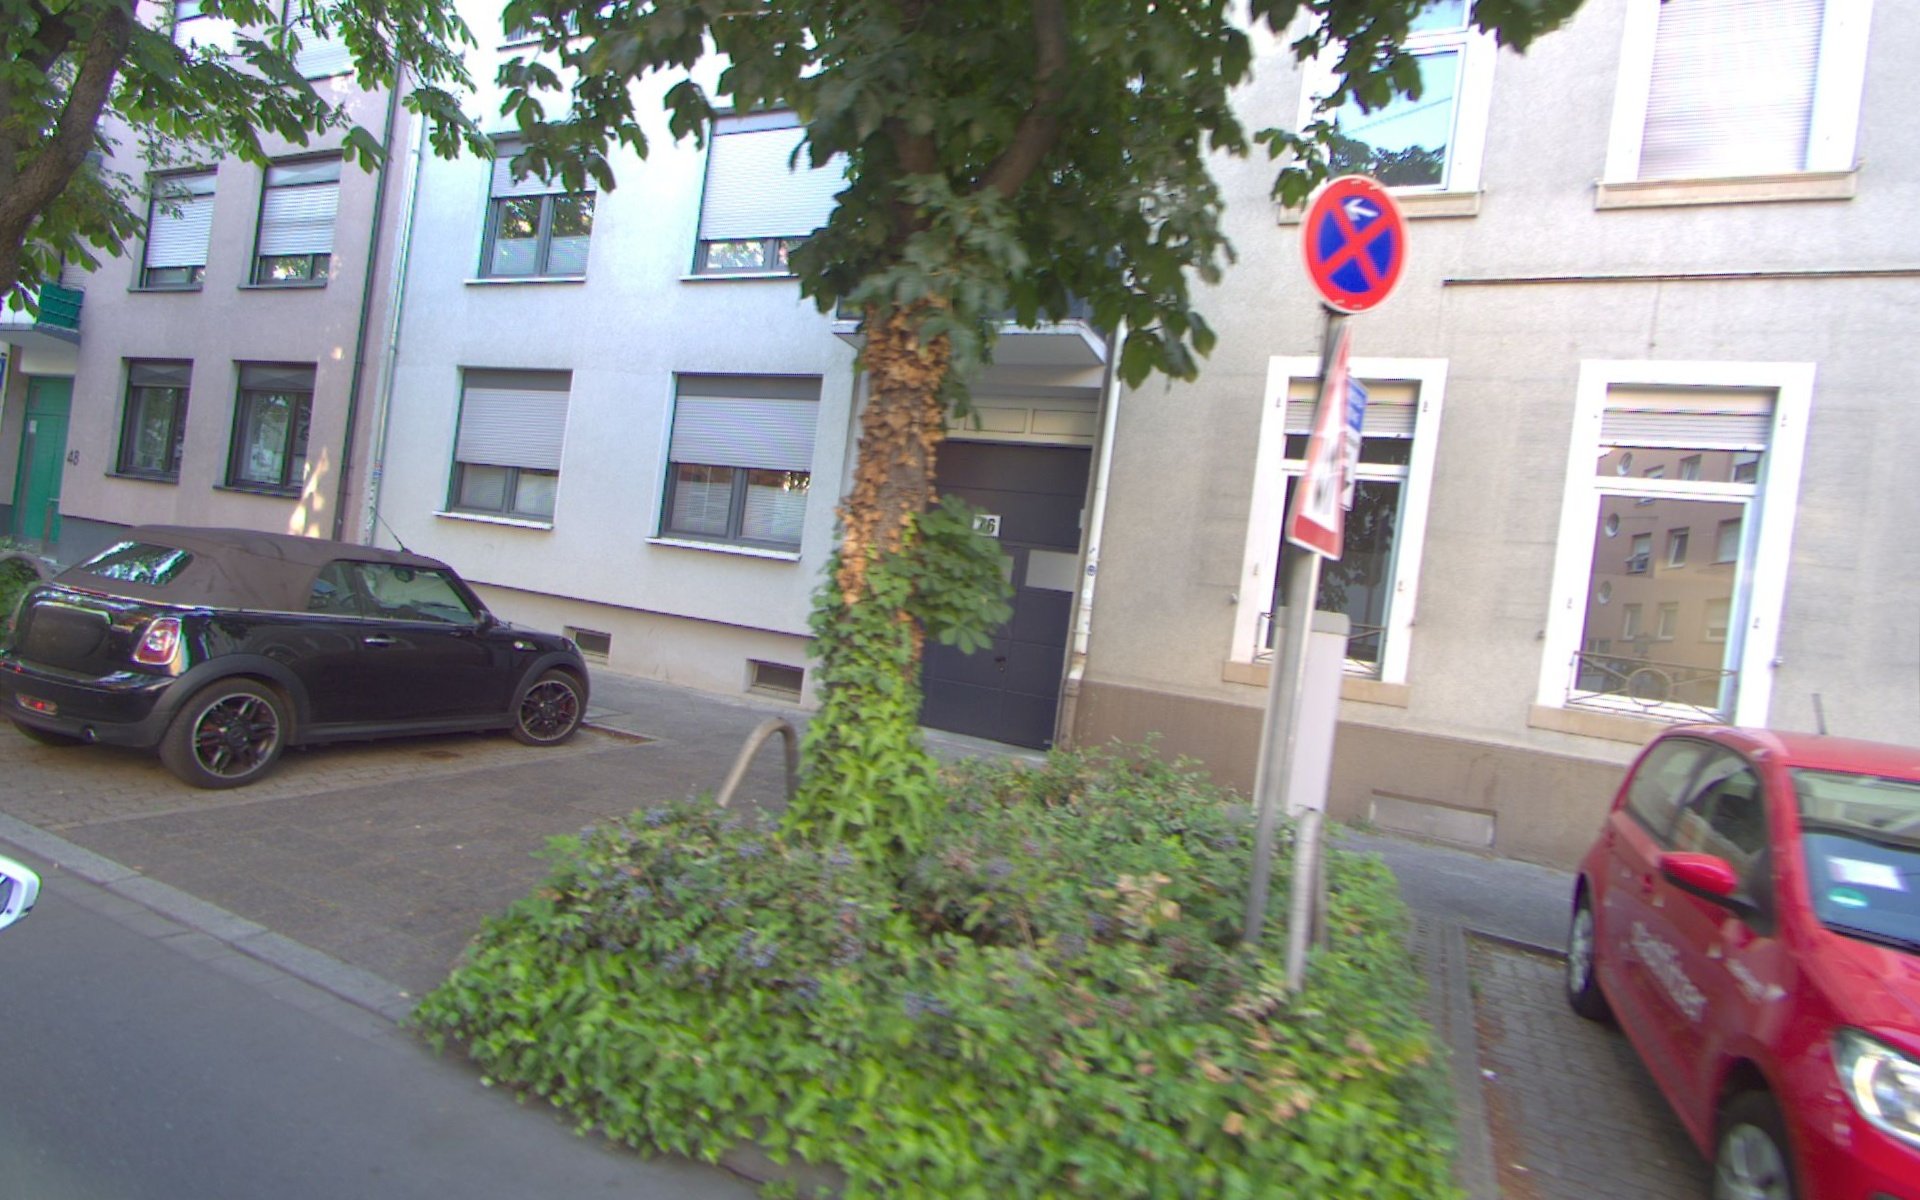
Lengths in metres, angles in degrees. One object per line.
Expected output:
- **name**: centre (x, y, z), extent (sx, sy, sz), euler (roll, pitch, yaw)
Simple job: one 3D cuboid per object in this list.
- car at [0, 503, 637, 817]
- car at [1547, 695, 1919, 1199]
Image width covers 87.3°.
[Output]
- **car**: centre (-4.180, 0.305, 6.998), extent (1.597, 1.446, 3.711), euler (8, 2, 21)
- **car**: centre (3.155, 1.226, 3.294), extent (1.537, 1.494, 3.666), euler (8, 0, 24)
